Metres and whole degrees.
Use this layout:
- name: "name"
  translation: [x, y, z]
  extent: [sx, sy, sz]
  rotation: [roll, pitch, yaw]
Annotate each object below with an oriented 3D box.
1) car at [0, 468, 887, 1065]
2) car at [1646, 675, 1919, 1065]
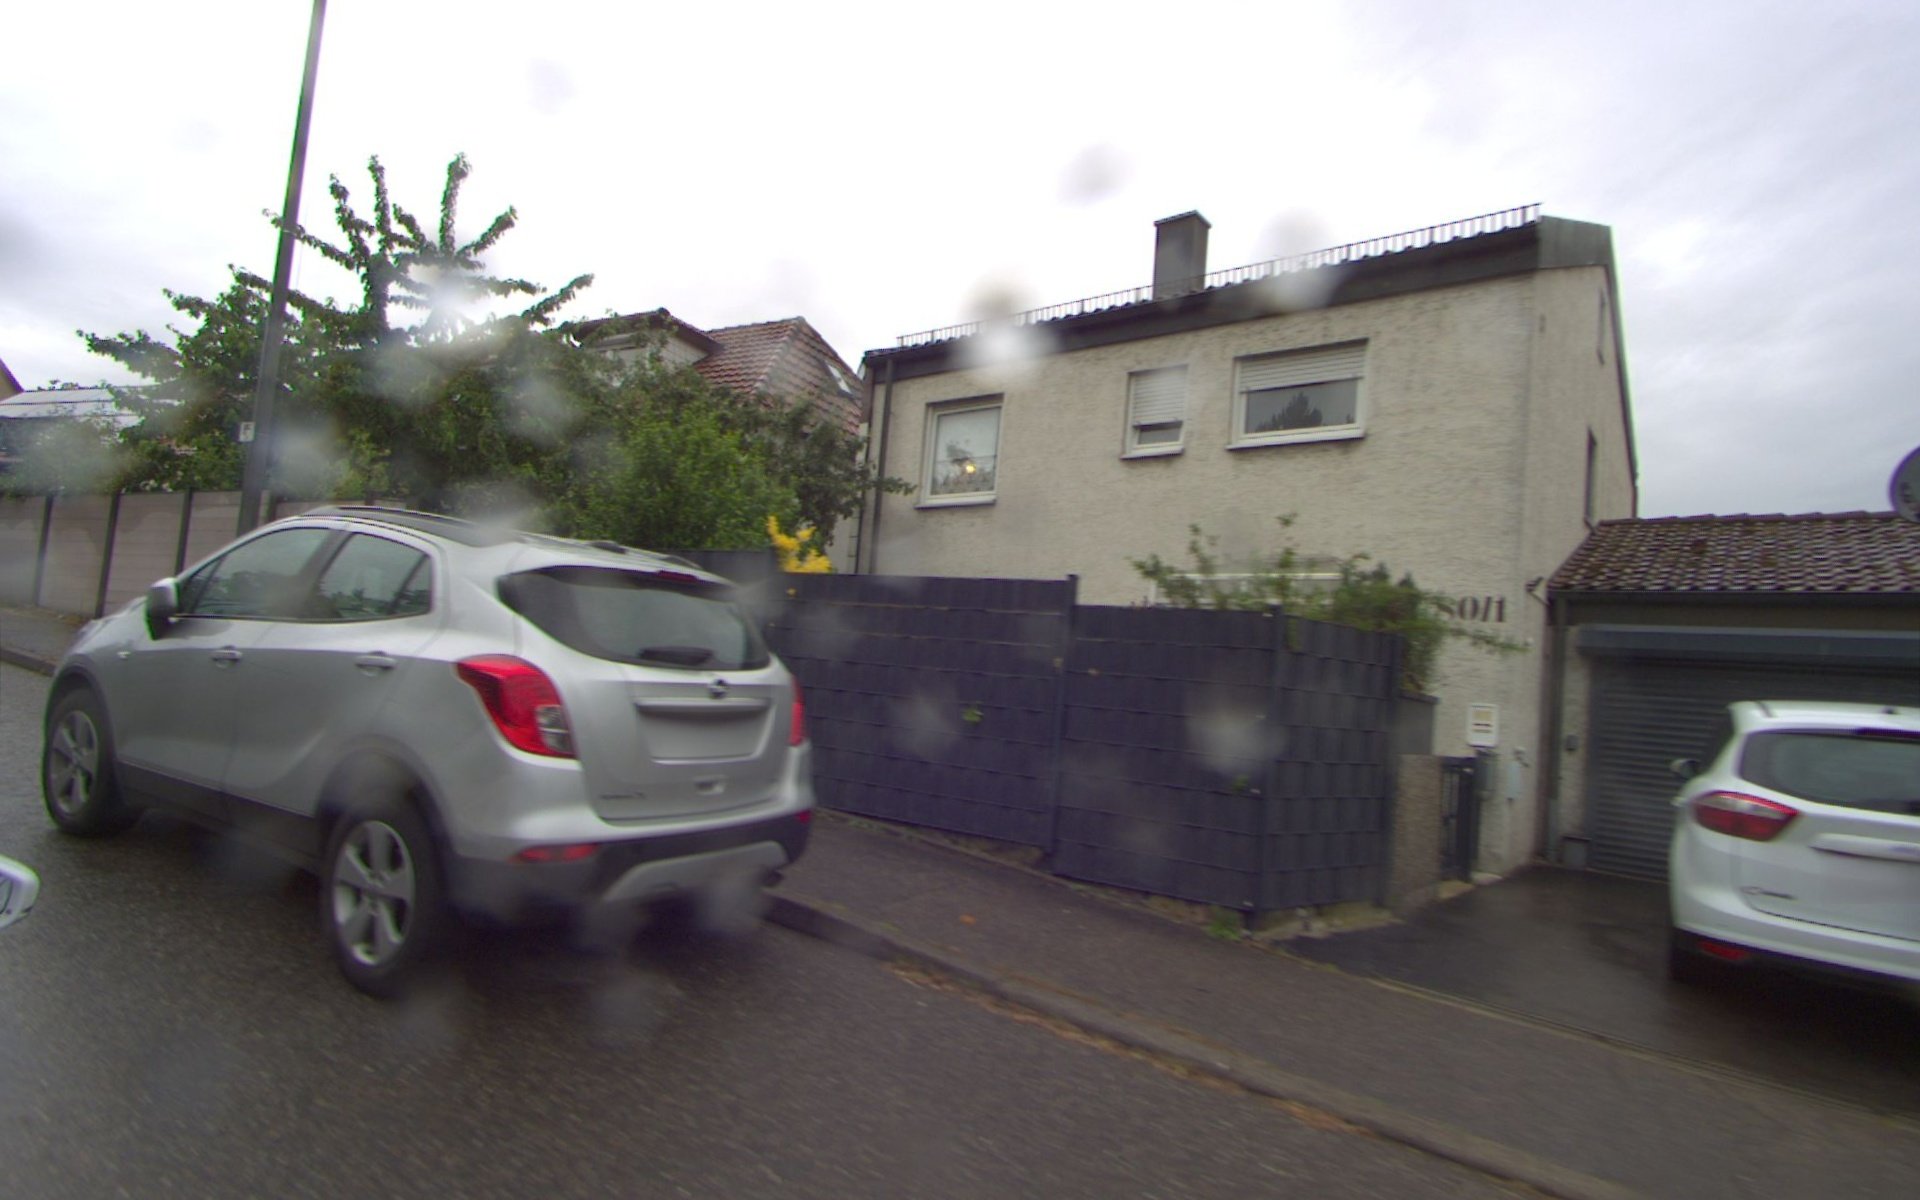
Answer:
- name: "car"
  translation: [-2.667, 0.413, 4.824]
  extent: [4.216, 1.647, 1.806]
  rotation: [7, 0, 31]
- name: "car"
  translation: [5.429, 1.472, 6.059]
  extent: [1.906, 1.607, 3.990]
  rotation: [5, -4, 37]
